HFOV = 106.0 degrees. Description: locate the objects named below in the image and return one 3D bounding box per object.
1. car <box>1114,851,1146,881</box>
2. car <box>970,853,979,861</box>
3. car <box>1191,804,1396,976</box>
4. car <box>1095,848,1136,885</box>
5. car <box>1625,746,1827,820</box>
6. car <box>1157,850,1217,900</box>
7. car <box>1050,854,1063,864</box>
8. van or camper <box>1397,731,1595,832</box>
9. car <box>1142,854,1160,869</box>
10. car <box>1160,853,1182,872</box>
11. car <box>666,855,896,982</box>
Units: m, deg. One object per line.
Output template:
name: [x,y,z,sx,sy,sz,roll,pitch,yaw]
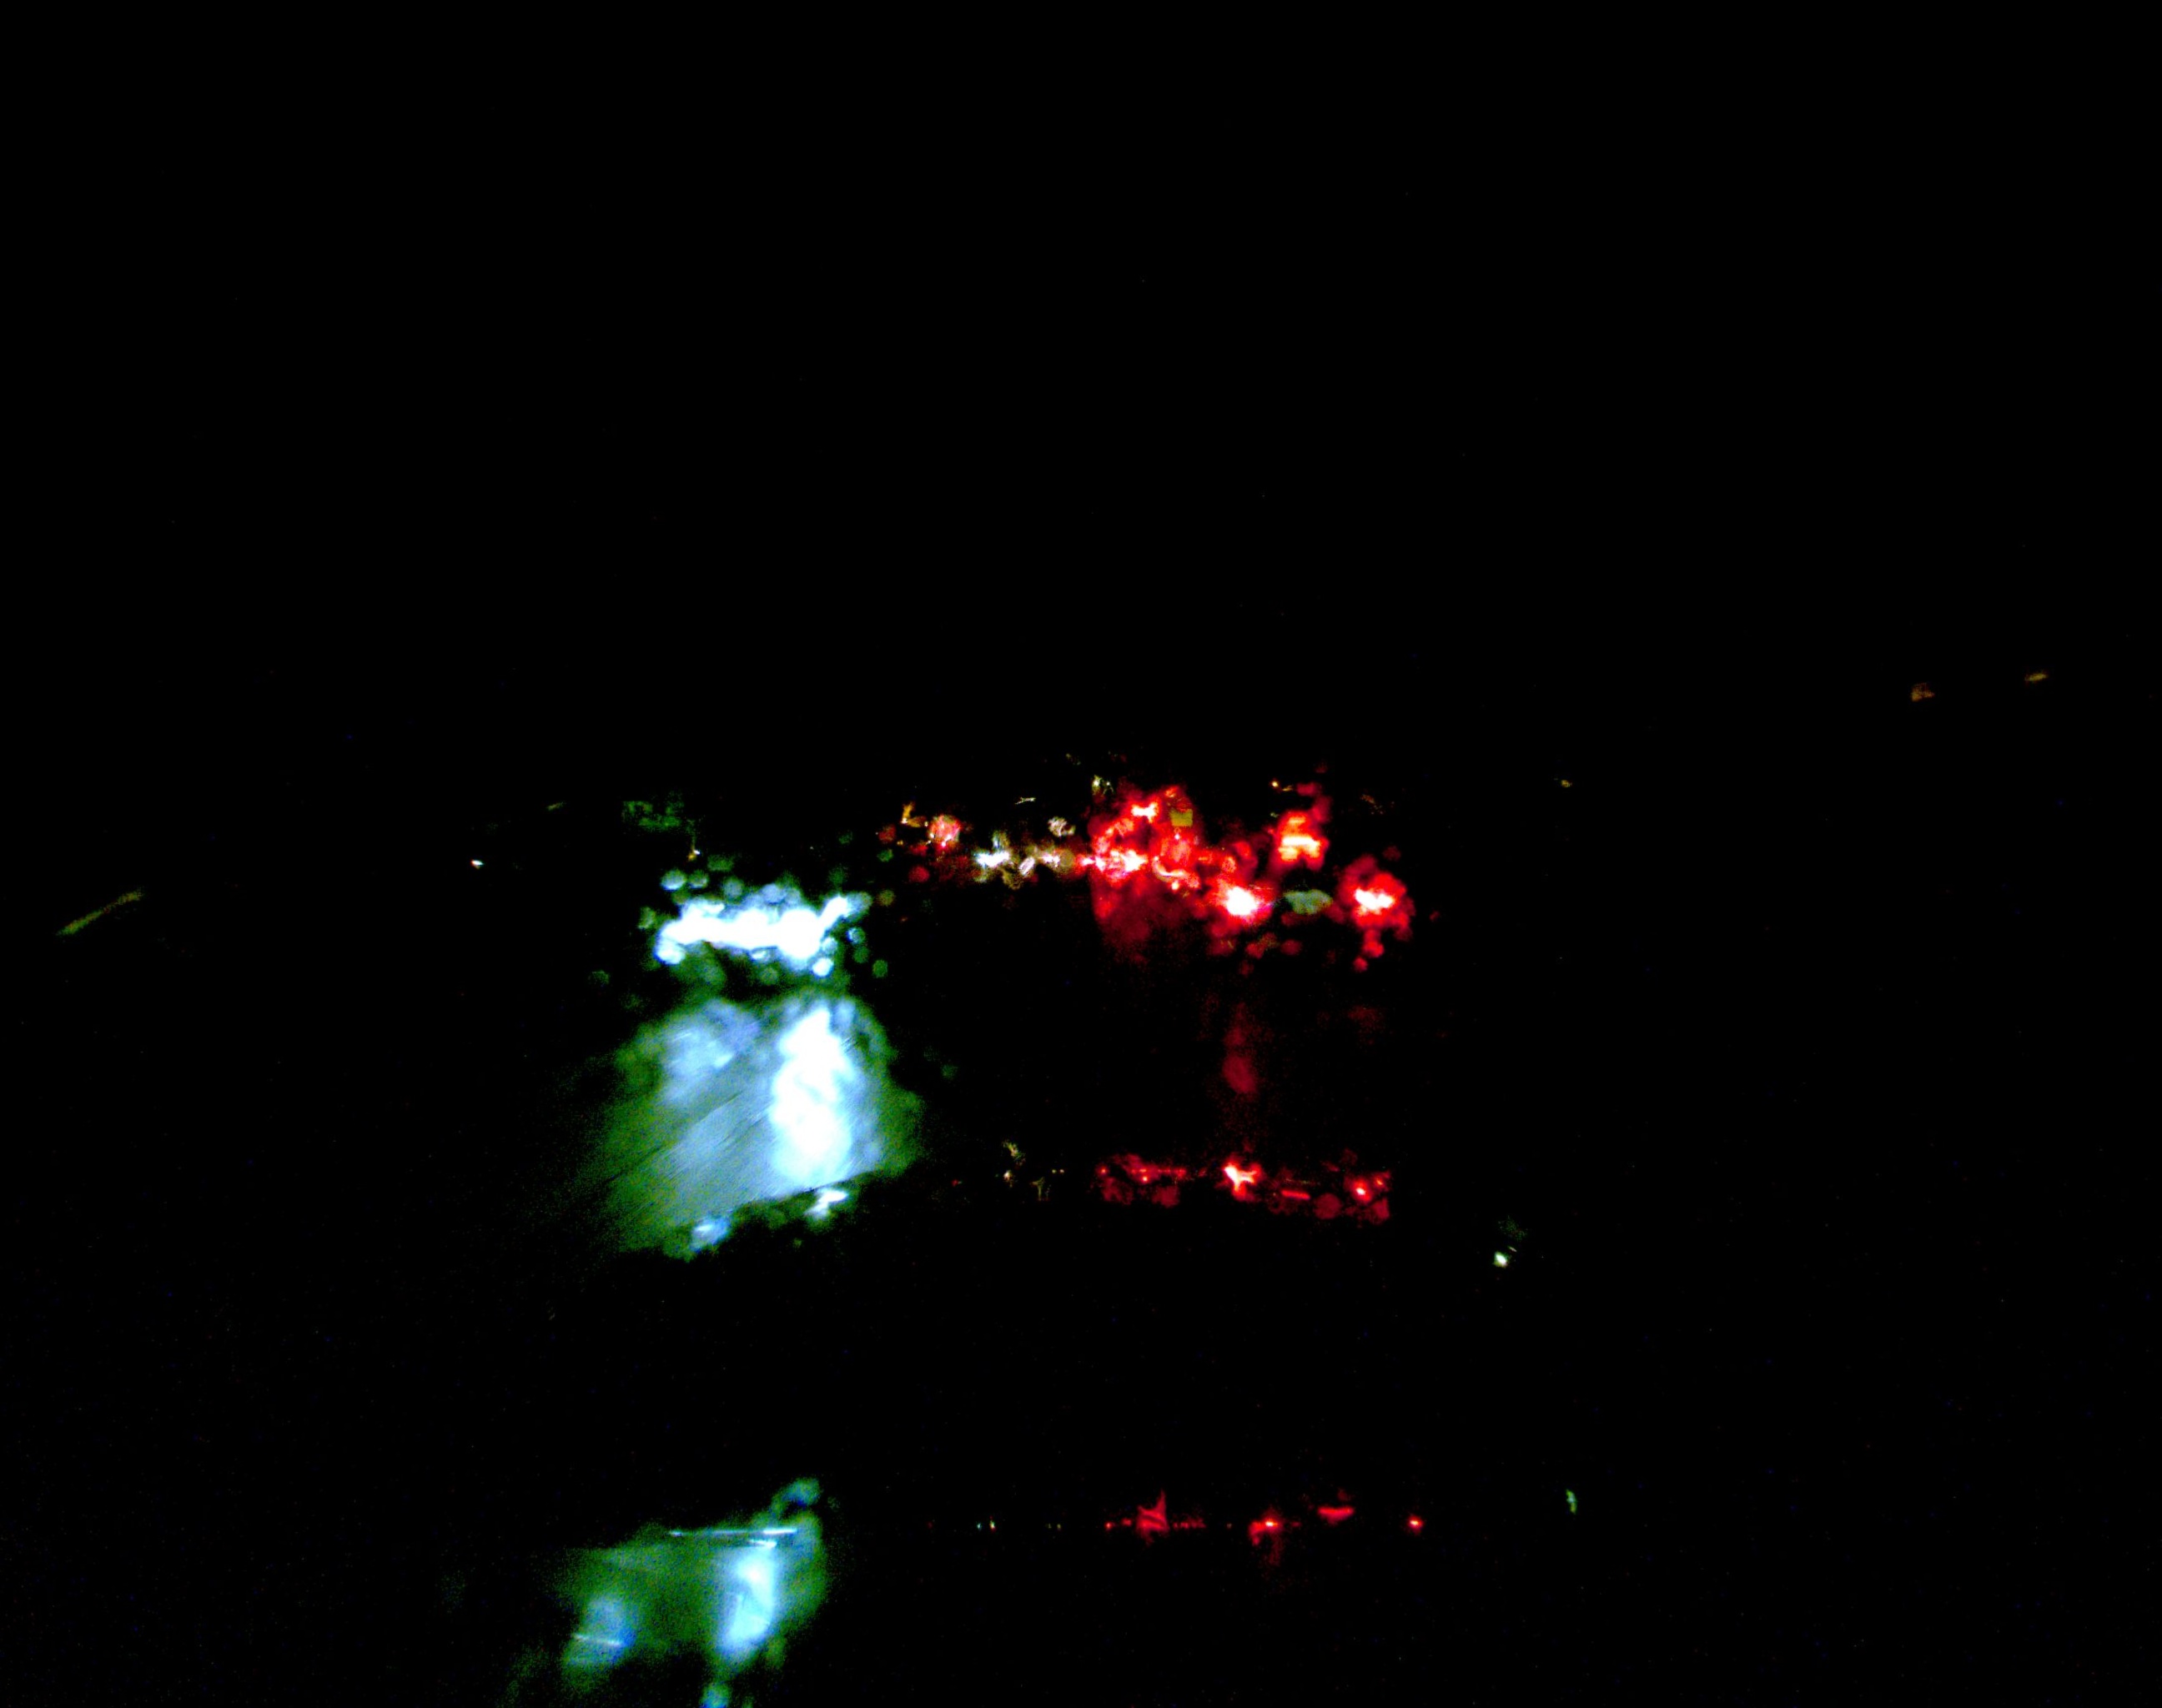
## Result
car: [3.001,0.687,48.828,1.700,1.638,3.736,-2,0,6]
car: [-26.008,0.698,198.578,1.991,1.912,4.733,-1,0,-6]
car: [2.744,0.405,11.545,1.935,1.972,4.220,-1,0,2]
car: [1.649,0.563,37.652,1.686,1.630,3.858,0,0,5]
car: [16.938,-1.786,21.666,1.637,1.618,4.116,-1,0,-13]
car: [3.509,0.624,26.569,1.758,1.450,4.228,-1,0,9]
car: [-4.004,0.754,133.163,1.707,1.499,3.722,-2,0,-7]
van or camper: [14.137,-2.329,28.400,2.584,2.908,6.328,-1,0,-14]
car: [6.952,0.779,80.782,1.655,1.450,4.055,-1,-1,5]
car: [7.467,0.719,67.414,1.654,1.450,4.058,-1,-1,7]
car: [-3.992,0.758,11.674,1.689,1.434,4.292,0,0,0]
